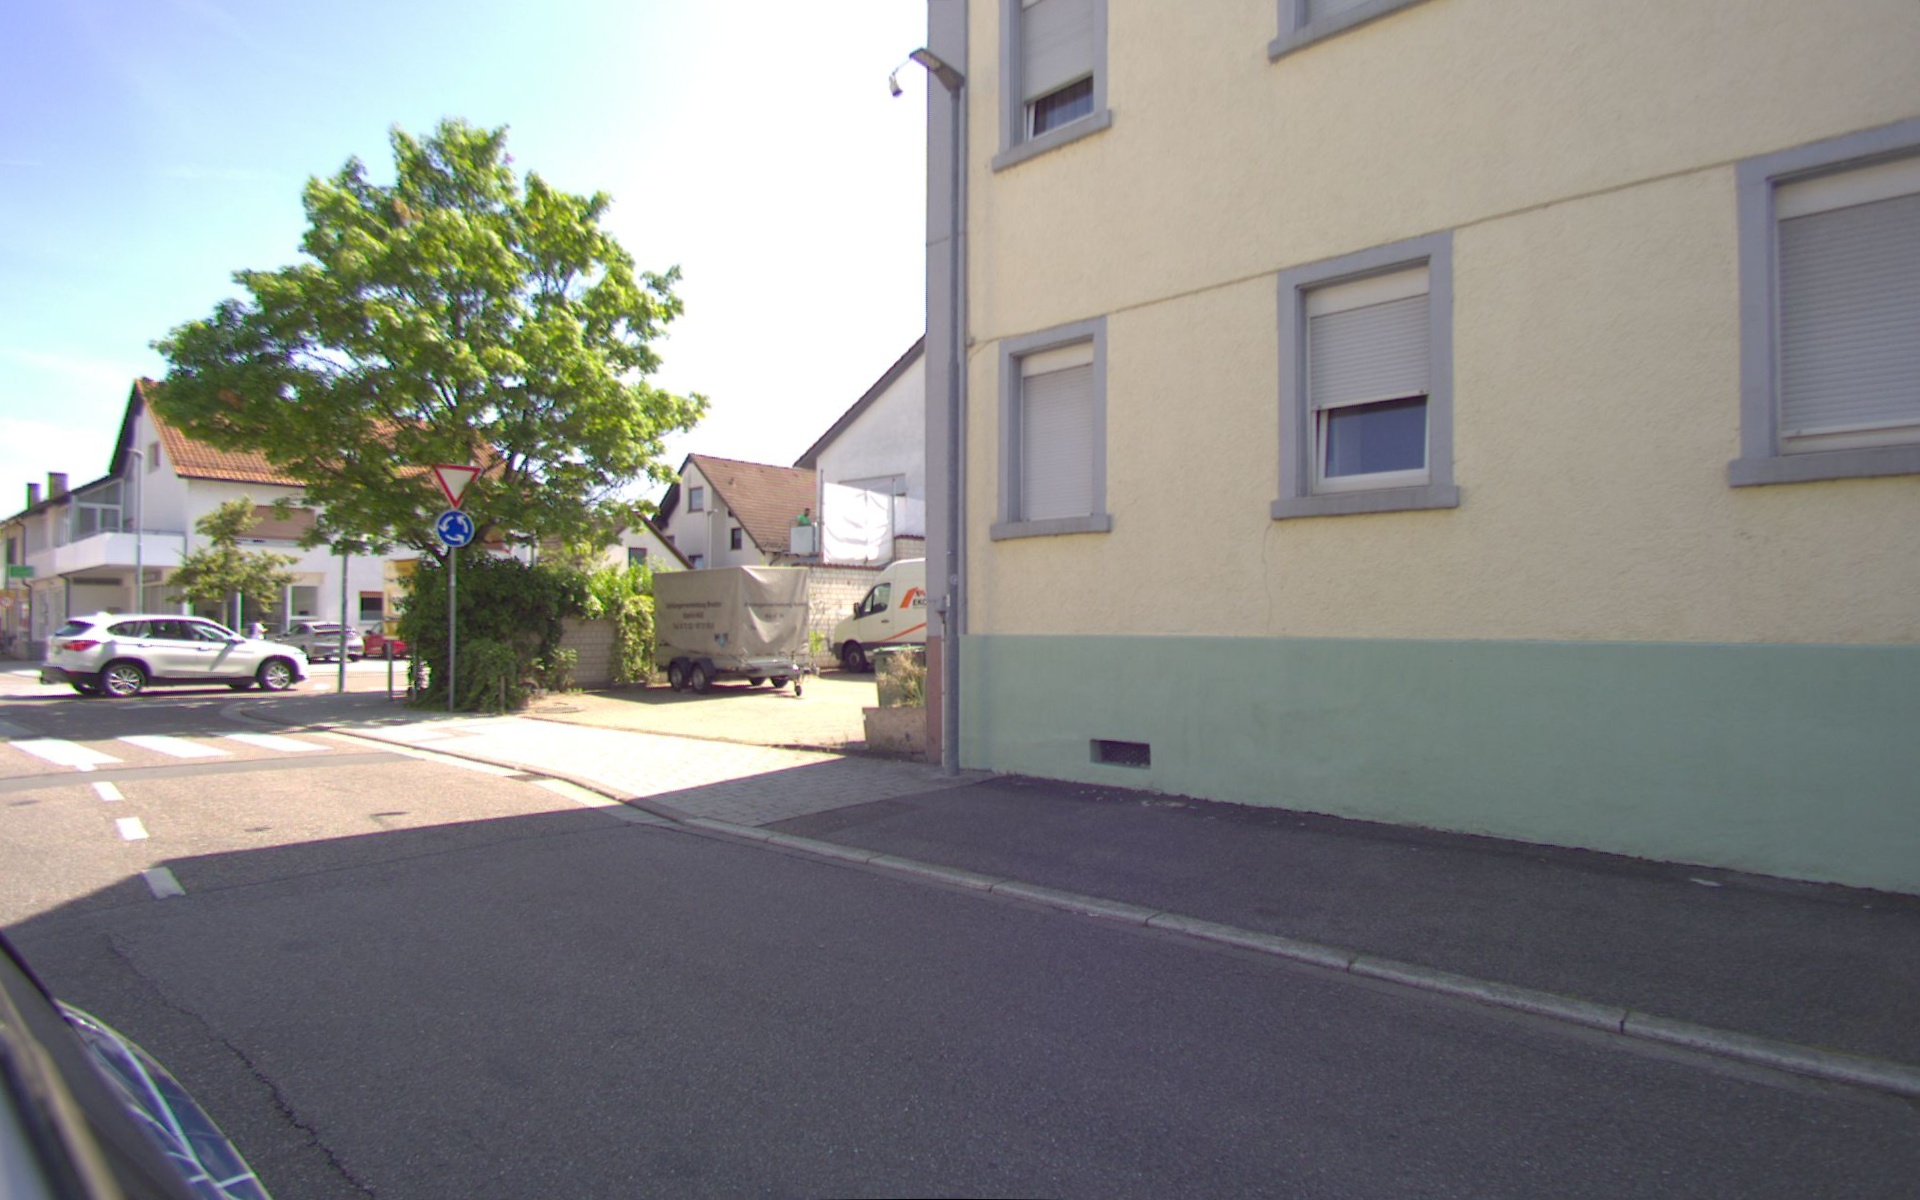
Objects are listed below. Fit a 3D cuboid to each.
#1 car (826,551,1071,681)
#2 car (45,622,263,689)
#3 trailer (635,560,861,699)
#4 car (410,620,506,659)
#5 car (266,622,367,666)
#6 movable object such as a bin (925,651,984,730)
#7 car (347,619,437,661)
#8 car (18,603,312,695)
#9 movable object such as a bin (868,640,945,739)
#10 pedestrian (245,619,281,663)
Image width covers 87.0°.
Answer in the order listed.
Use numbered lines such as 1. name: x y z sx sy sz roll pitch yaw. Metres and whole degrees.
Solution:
1. car: -0.397 0.356 22.792 5.644 2.586 1.917 -2 0 41
2. car: -20.565 1.403 26.065 4.264 1.460 1.885 -1 -4 -36
3. trailer: -4.138 0.530 19.331 4.521 2.353 1.859 -2 0 41
4. car: -20.149 1.551 40.531 4.475 1.461 1.812 -1 -1 40
5. car: -23.328 1.533 36.610 4.475 1.461 1.812 -1 -1 40
6. movable object such as a bin: -0.068 1.107 12.517 0.547 0.935 0.474 -2 -2 43
7. car: -21.825 1.502 38.829 3.960 1.488 1.730 -1 -1 40
8. car: -16.004 1.029 20.614 1.841 1.658 4.323 -2 -4 34
9. movable object such as a bin: -0.619 1.008 11.670 0.658 1.087 0.593 -2 -2 43
10. pedestrian: -26.028 1.520 37.801 0.757 1.595 0.944 -1 1 41
